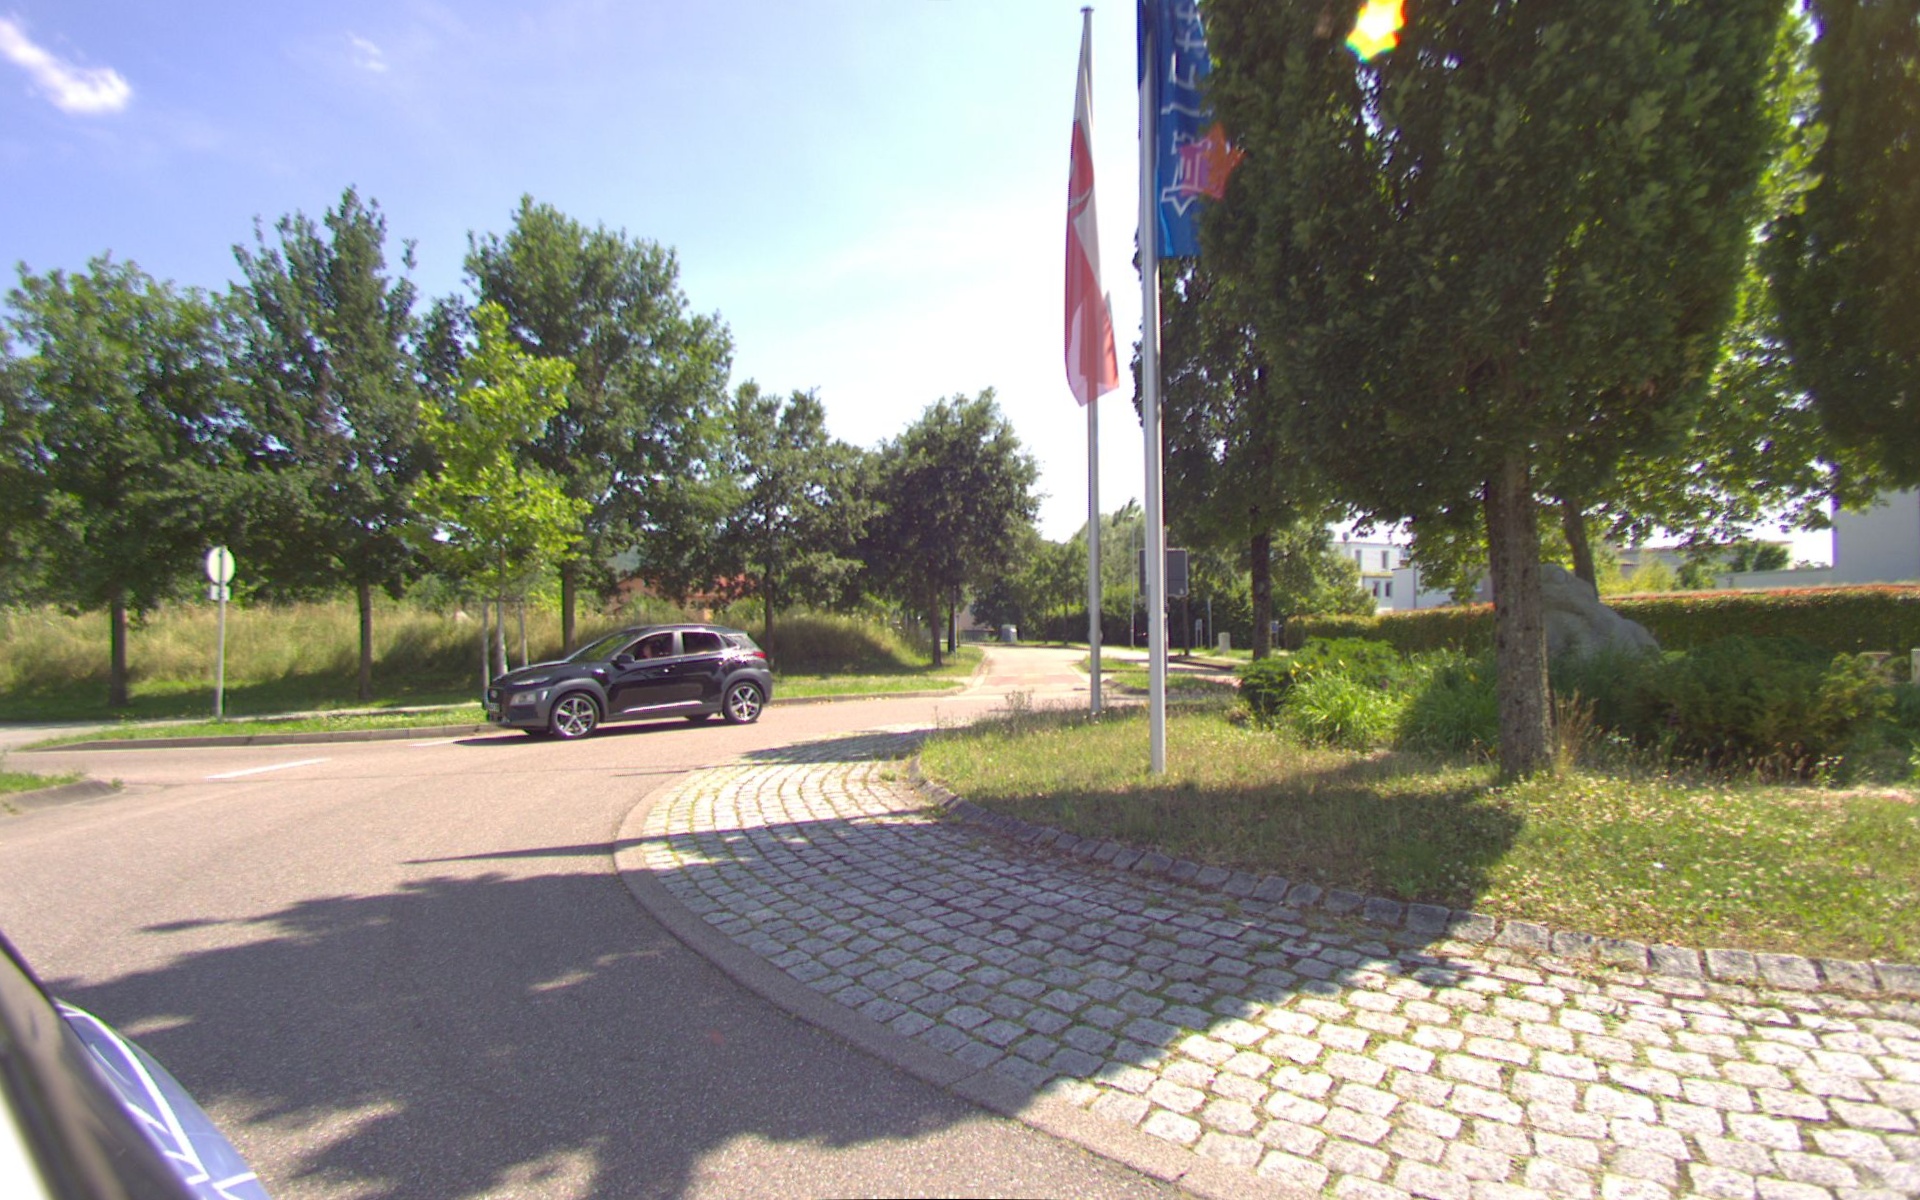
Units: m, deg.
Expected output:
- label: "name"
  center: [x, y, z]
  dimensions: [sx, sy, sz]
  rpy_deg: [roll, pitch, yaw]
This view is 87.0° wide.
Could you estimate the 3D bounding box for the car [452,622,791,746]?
- label: "car"
  center: [-4.904, 1.140, 15.062]
  dimensions: [4.417, 1.581, 1.868]
  rpy_deg: [1, -3, -42]
